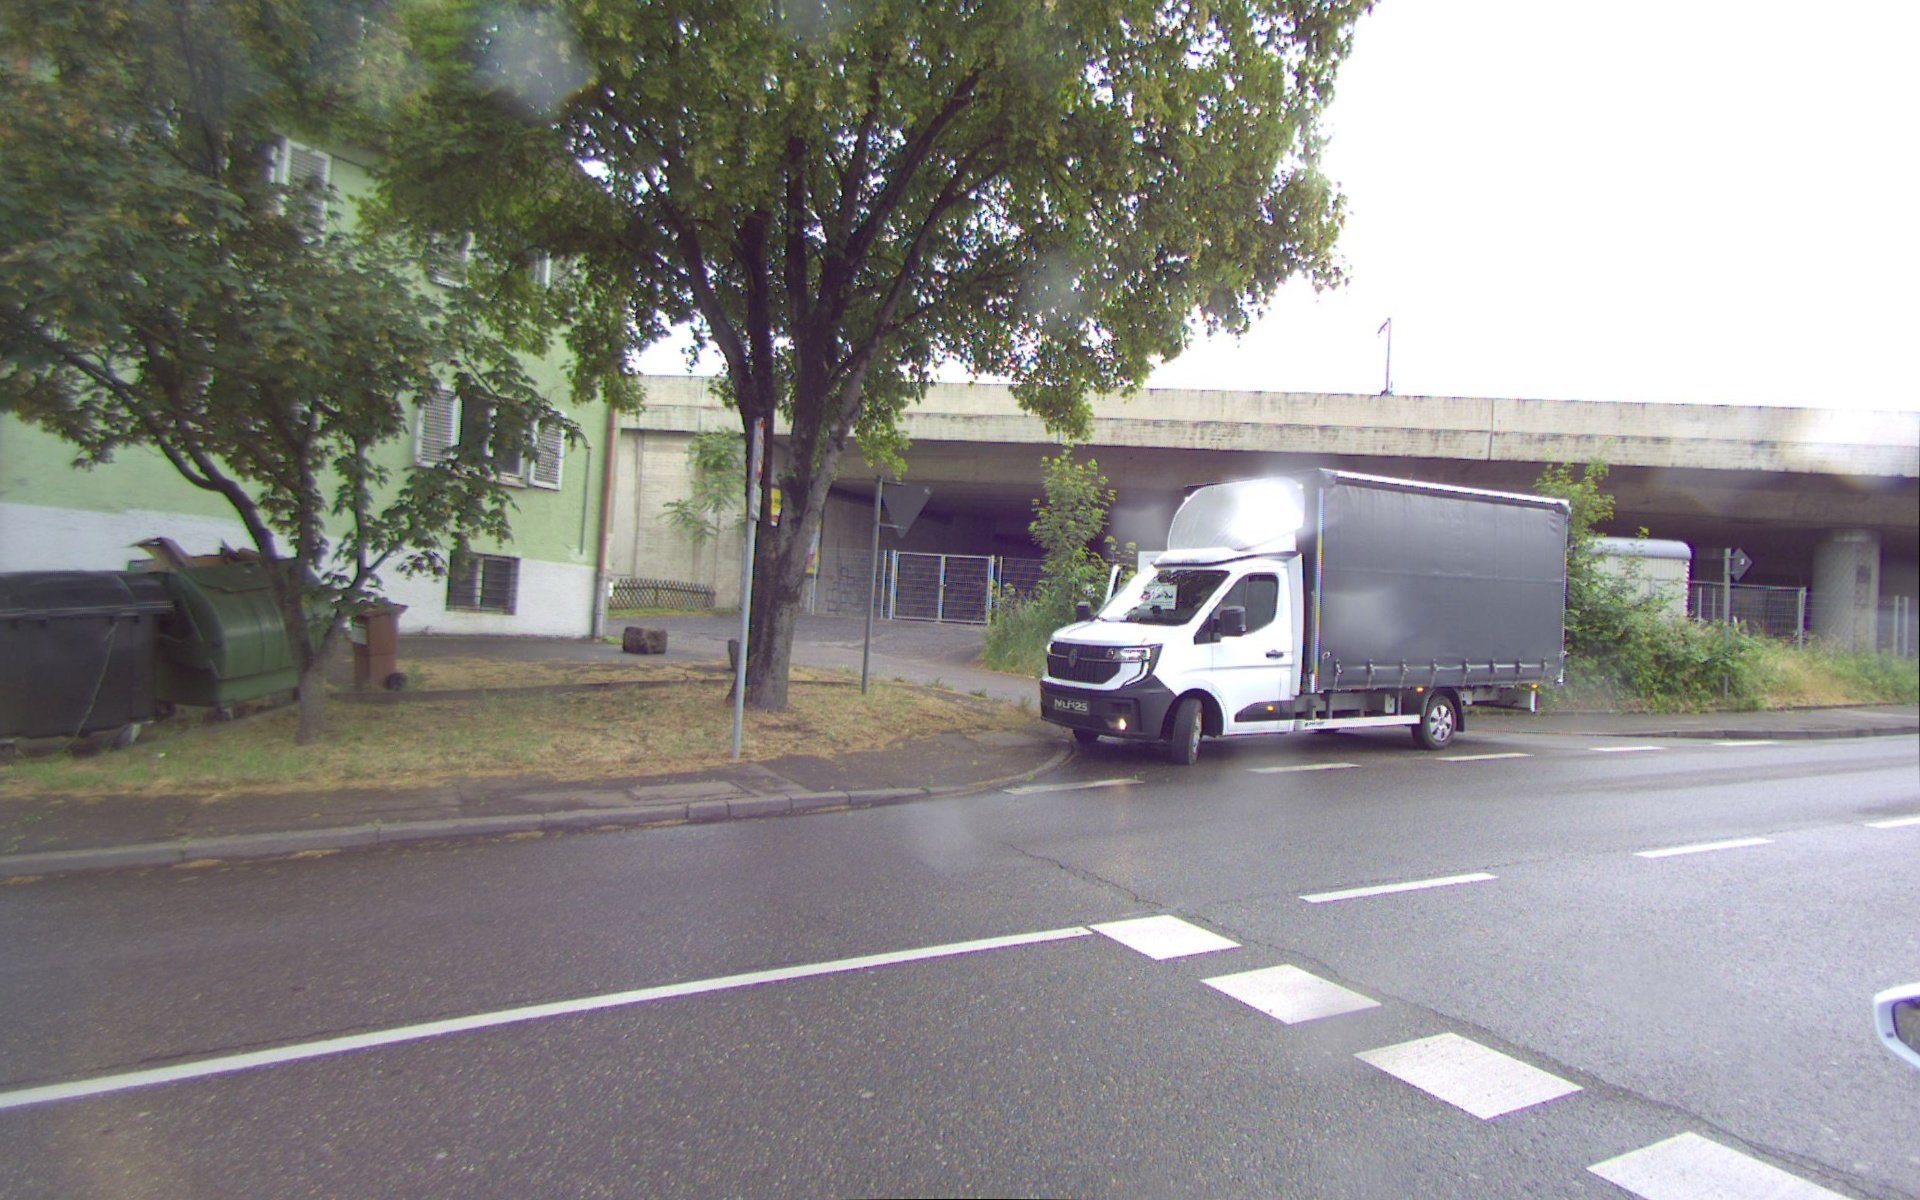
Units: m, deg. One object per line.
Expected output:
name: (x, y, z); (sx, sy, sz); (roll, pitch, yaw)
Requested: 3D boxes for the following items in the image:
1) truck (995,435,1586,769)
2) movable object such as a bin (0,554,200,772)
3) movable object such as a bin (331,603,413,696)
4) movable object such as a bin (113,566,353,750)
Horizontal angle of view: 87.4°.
truck: (4.445, 0.175, 12.856); (7.681, 3.279, 2.599); (3, -1, -29)
movable object such as a bin: (-7.312, 0.417, 8.054); (1.268, 1.457, 1.463); (5, 5, 13)
movable object such as a bin: (-6.369, 0.531, 10.901); (0.715, 0.970, 0.554); (3, -1, -30)
movable object such as a bin: (-6.745, 0.470, 9.419); (1.078, 1.457, 1.463); (5, 5, 13)
